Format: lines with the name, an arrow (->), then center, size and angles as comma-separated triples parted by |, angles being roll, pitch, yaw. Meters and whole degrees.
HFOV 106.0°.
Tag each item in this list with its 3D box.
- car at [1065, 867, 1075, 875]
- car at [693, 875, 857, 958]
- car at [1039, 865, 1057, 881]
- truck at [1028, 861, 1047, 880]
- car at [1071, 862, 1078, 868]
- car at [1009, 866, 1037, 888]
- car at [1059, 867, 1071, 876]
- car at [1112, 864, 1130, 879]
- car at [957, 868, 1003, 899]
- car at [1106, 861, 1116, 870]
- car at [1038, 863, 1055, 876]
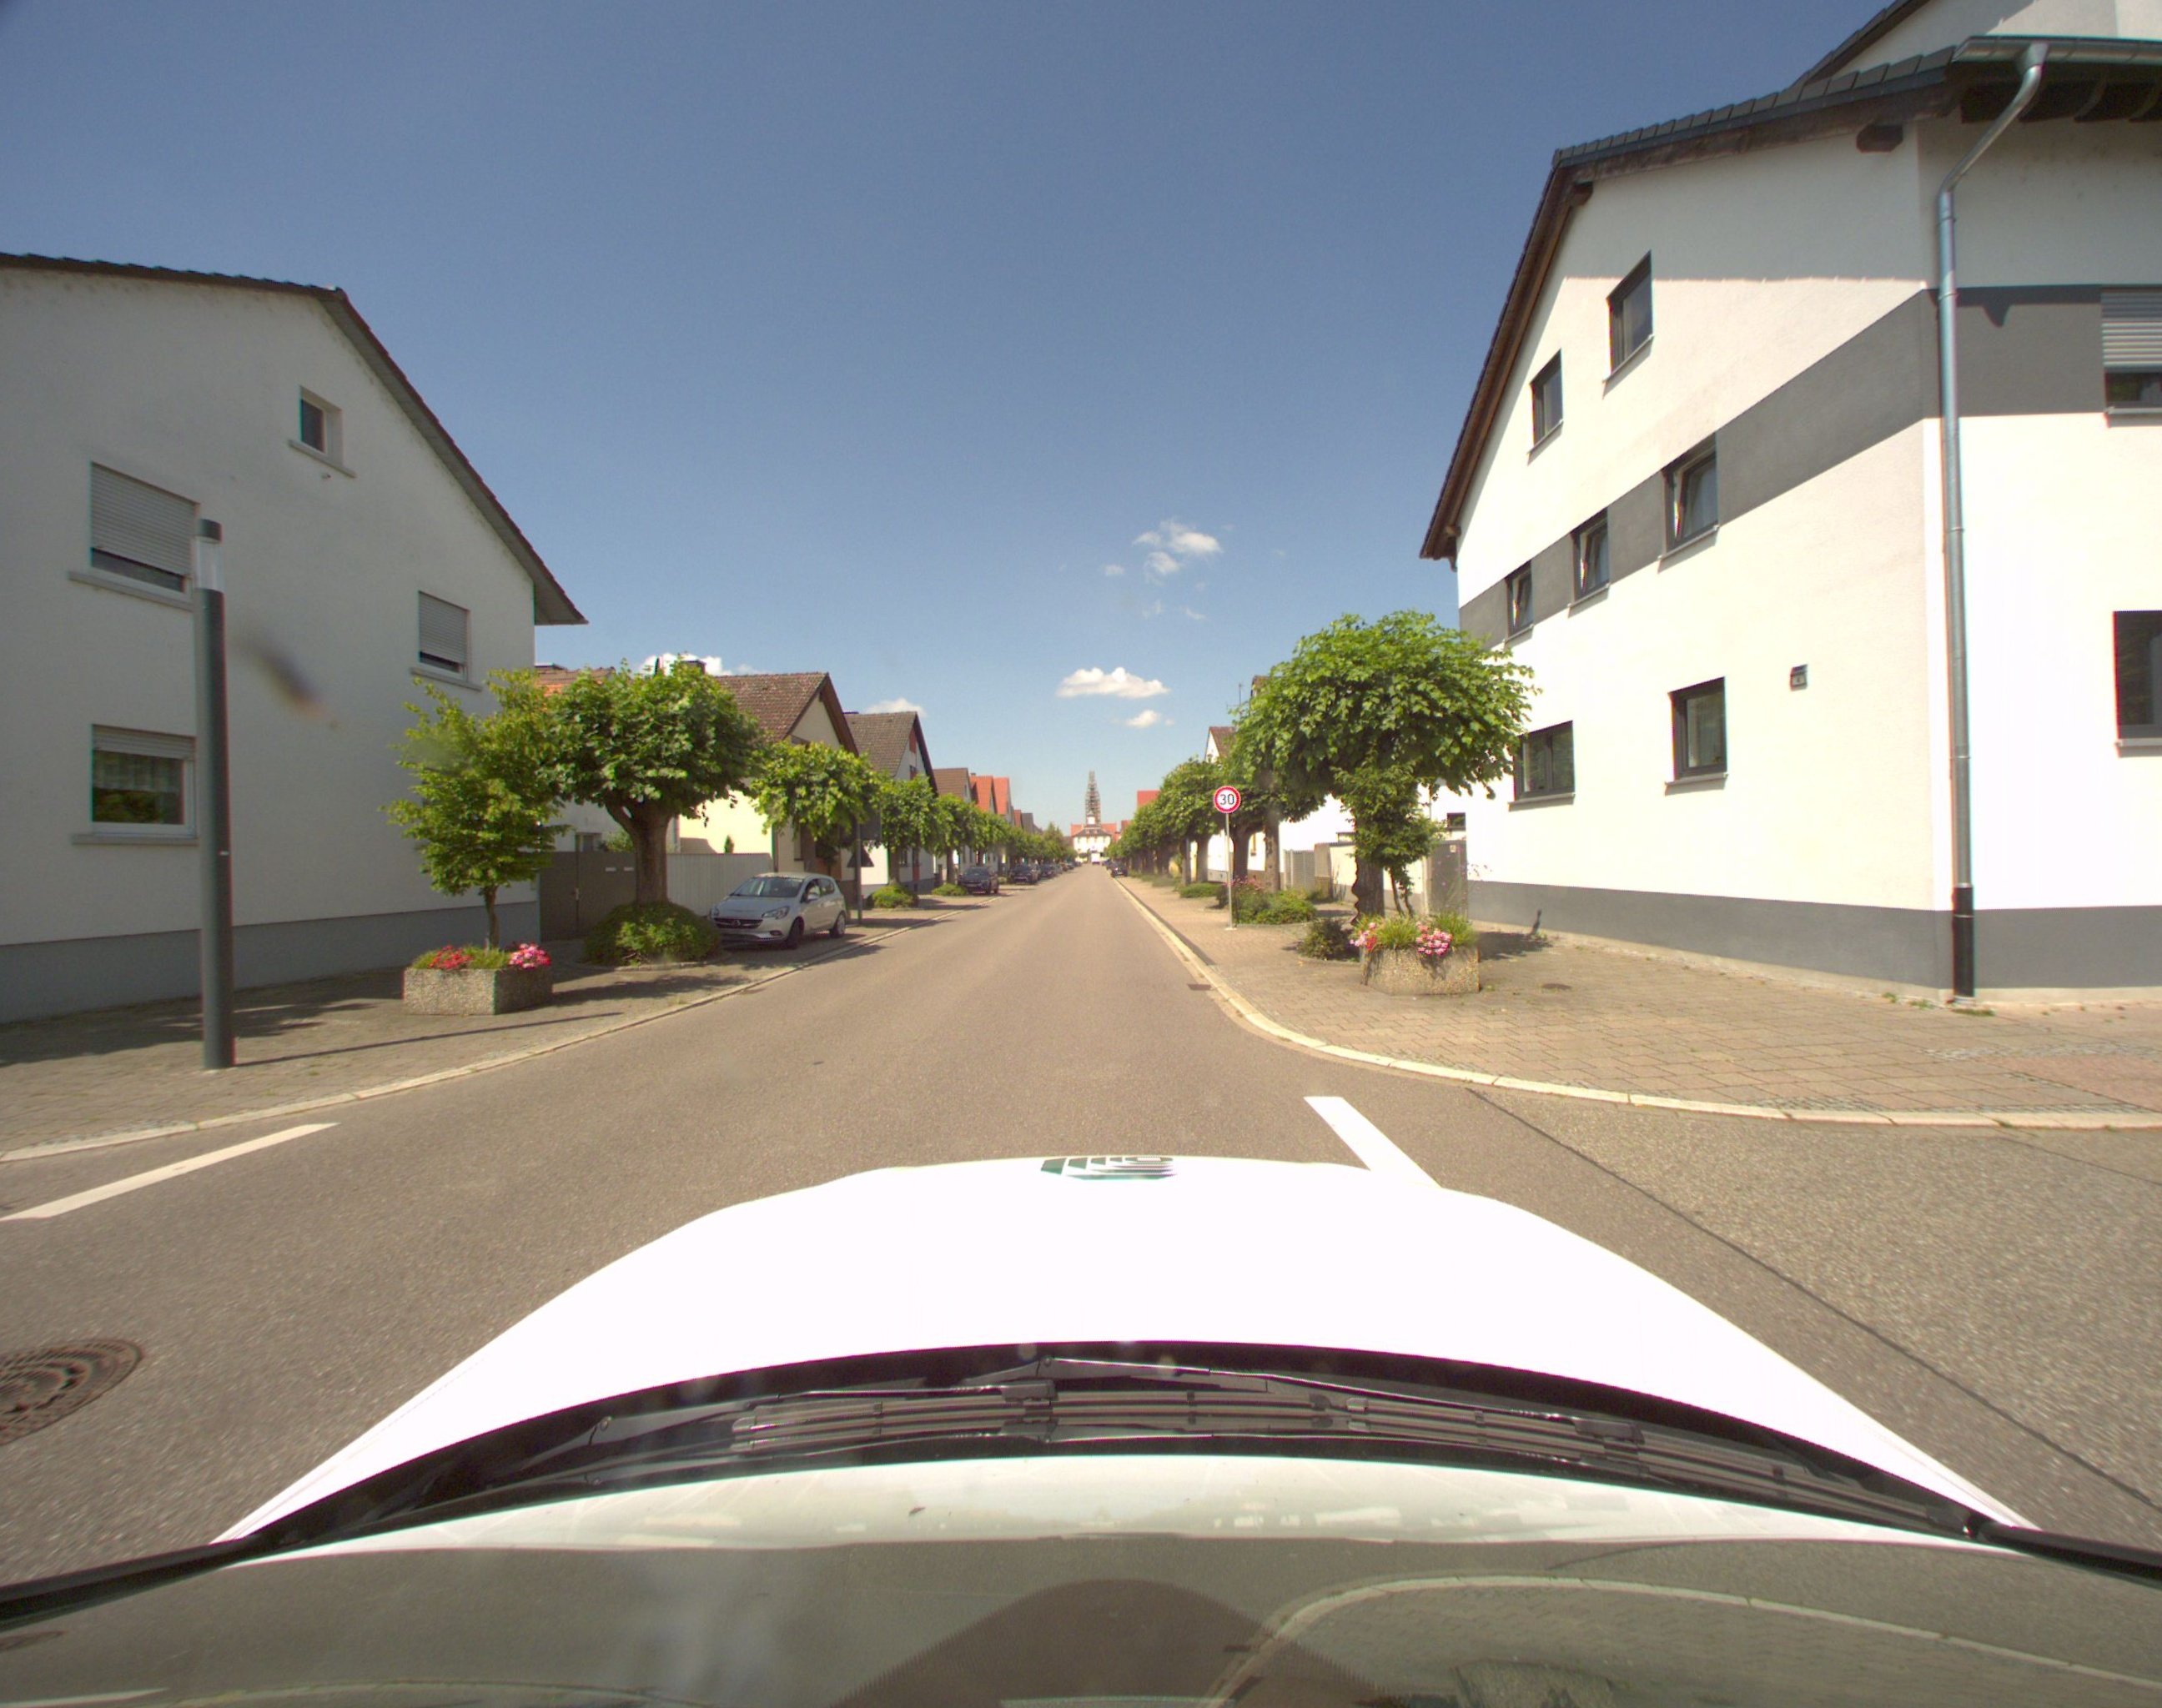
car -> -2.315, 3.681, 174.540 | 1.986, 1.611, 4.691 | 1, 0, 2
car -> -6.285, 1.219, 17.298 | 1.818, 1.483, 4.133 | 0, -1, 1
car -> -3.703, 2.081, 90.495 | 1.782, 1.634, 3.993 | -1, -1, -4
truck -> -4.385, 1.647, 81.871 | 1.570, 1.765, 4.192 | 0, -1, 1
car -> -1.713, 3.031, 217.462 | 1.751, 1.555, 4.021 | -2, 0, 2
car -> -4.589, 1.831, 65.408 | 1.846, 1.636, 4.300 | 0, 0, 1
car -> -2.940, 3.182, 152.555 | 1.986, 1.611, 4.691 | 0, -1, 2
car -> 4.469, 1.931, 90.905 | 1.818, 1.432, 4.057 | -4, 0, 1
car -> -5.550, 1.590, 45.233 | 1.845, 1.613, 4.138 | 0, -1, 3
car -> 5.956, 2.261, 160.395 | 1.831, 1.555, 4.314 | -3, 0, 1
car -> -4.117, 1.867, 98.420 | 1.846, 1.635, 4.057 | 0, -1, 1
